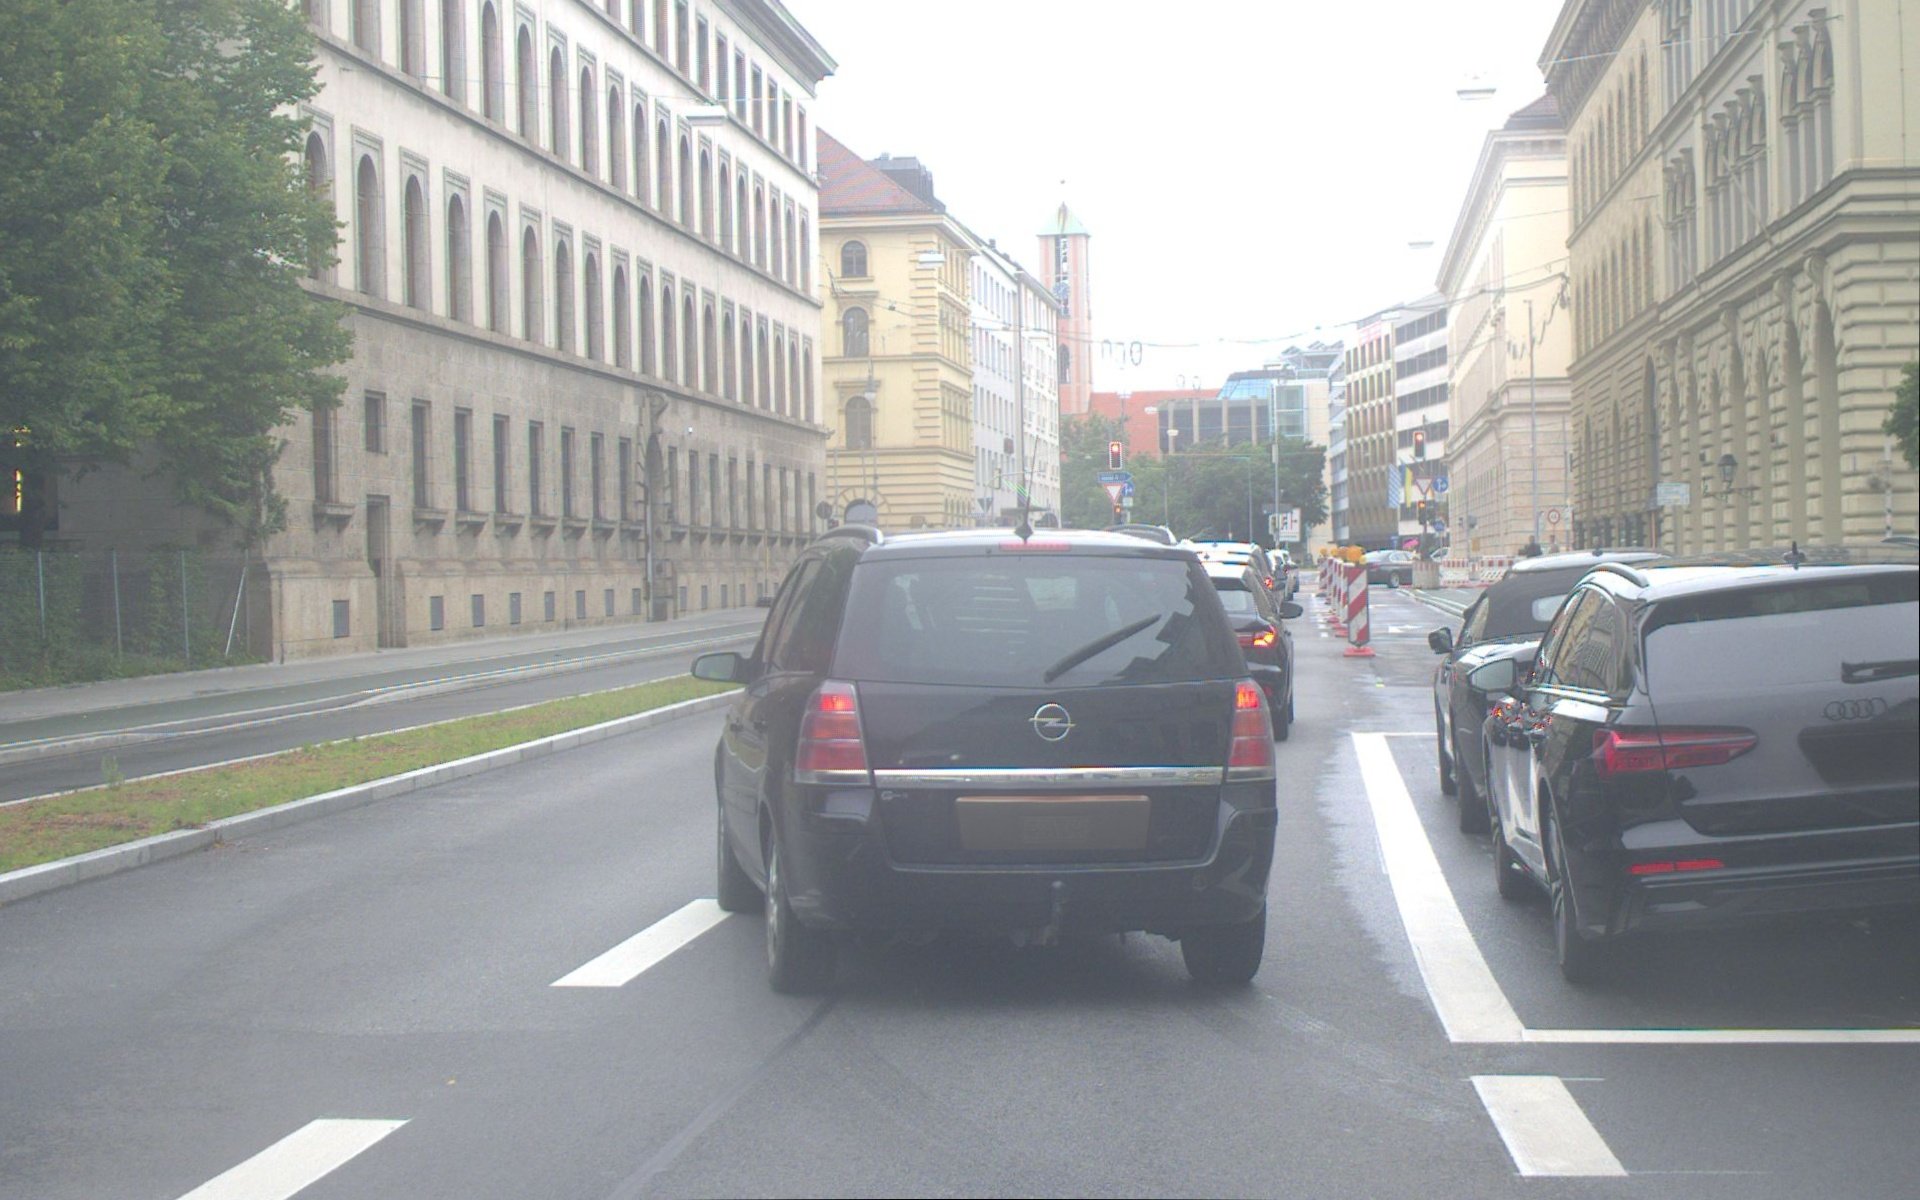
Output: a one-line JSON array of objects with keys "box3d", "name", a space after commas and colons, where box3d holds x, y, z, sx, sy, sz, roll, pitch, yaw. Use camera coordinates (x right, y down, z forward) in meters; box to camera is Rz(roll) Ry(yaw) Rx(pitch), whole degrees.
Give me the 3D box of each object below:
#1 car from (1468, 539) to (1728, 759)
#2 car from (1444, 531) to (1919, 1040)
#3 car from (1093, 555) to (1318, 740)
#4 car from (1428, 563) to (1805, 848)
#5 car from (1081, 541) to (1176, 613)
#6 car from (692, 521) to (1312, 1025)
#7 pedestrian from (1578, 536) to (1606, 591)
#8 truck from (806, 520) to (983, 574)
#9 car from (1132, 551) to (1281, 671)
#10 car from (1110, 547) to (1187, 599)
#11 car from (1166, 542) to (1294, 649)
[{"box3d": [4.681, 0.303, 25.641, 1.675, 1.515, 3.828, 0, 1, 7], "name": "car"}, {"box3d": [2.969, 0.551, 13.119, 1.809, 1.475, 4.462, -5, 1, 4], "name": "car"}, {"box3d": [2.097, 0.335, 28.541, 1.730, 1.398, 3.999, 0, 1, 6], "name": "car"}, {"box3d": [3.650, 0.509, 19.818, 1.826, 1.402, 4.718, 0, 1, 7], "name": "car"}, {"box3d": [4.021, -0.557, 81.452, 1.994, 1.622, 3.999, -1, 1, 6], "name": "car"}, {"box3d": [-0.007, 0.515, 13.120, 1.764, 1.610, 4.031, 0, 1, -8], "name": "car"}, {"box3d": [18.700, -1.082, 101.729, 0.710, 1.612, 0.754, -1, 1, 6], "name": "pedestrian"}, {"box3d": [-2.835, -2.300, 148.900, 7.389, 2.245, 2.179, 1, 0, 9], "name": "truck"}, {"box3d": [3.123, 0.101, 42.956, 1.730, 1.398, 3.999, 0, 1, 6], "name": "car"}, {"box3d": [5.463, -0.792, 99.239, 1.994, 1.439, 3.999, -1, 1, 6], "name": "car"}, {"box3d": [3.897, -0.098, 49.256, 1.730, 1.456, 3.999, 0, 1, 6], "name": "car"}]
